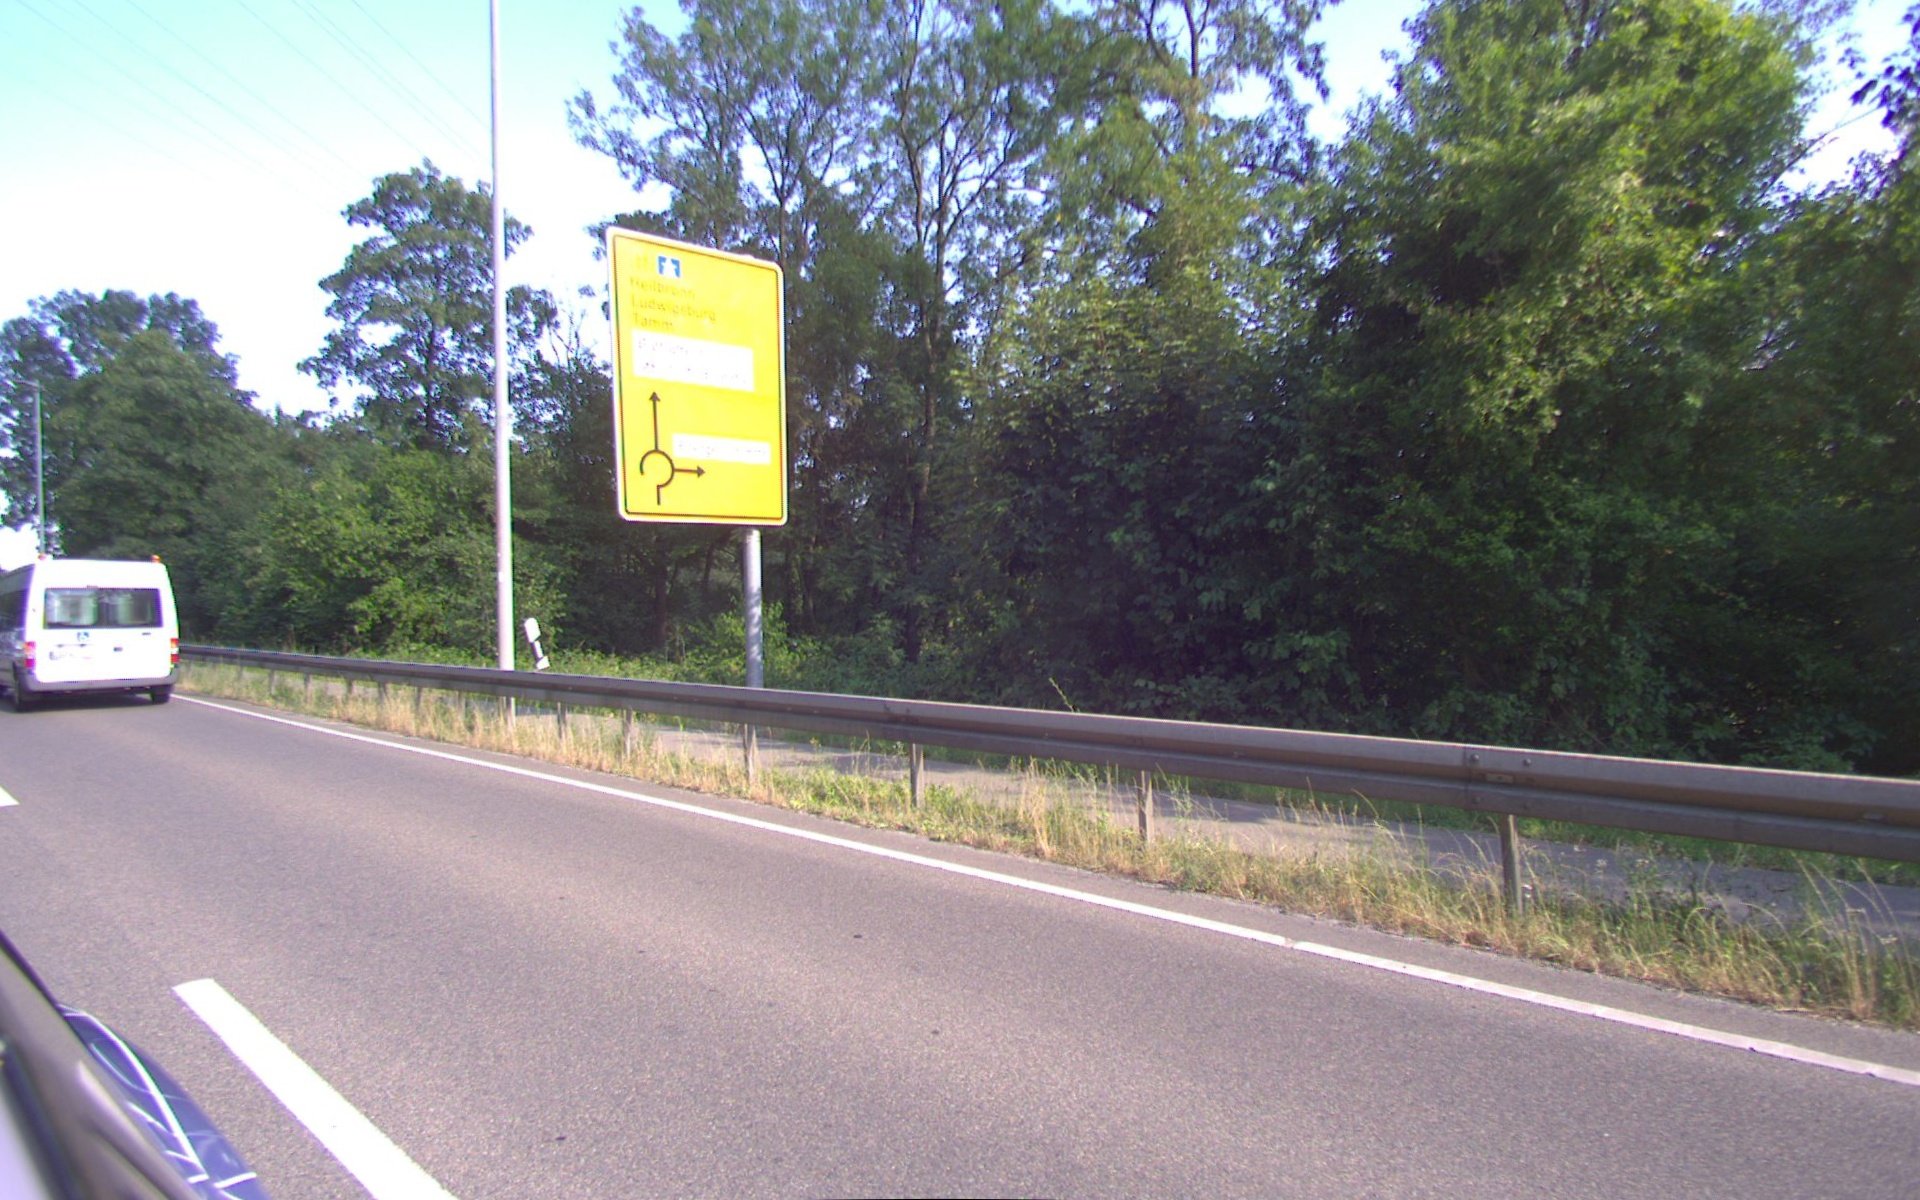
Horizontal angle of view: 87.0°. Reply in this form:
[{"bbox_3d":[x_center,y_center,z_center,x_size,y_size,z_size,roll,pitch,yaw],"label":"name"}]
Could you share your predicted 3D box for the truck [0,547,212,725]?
[{"bbox_3d":[-14.081,0.521,16.338,5.870,2.403,2.036,-1,-1,41],"label":"truck"}]
